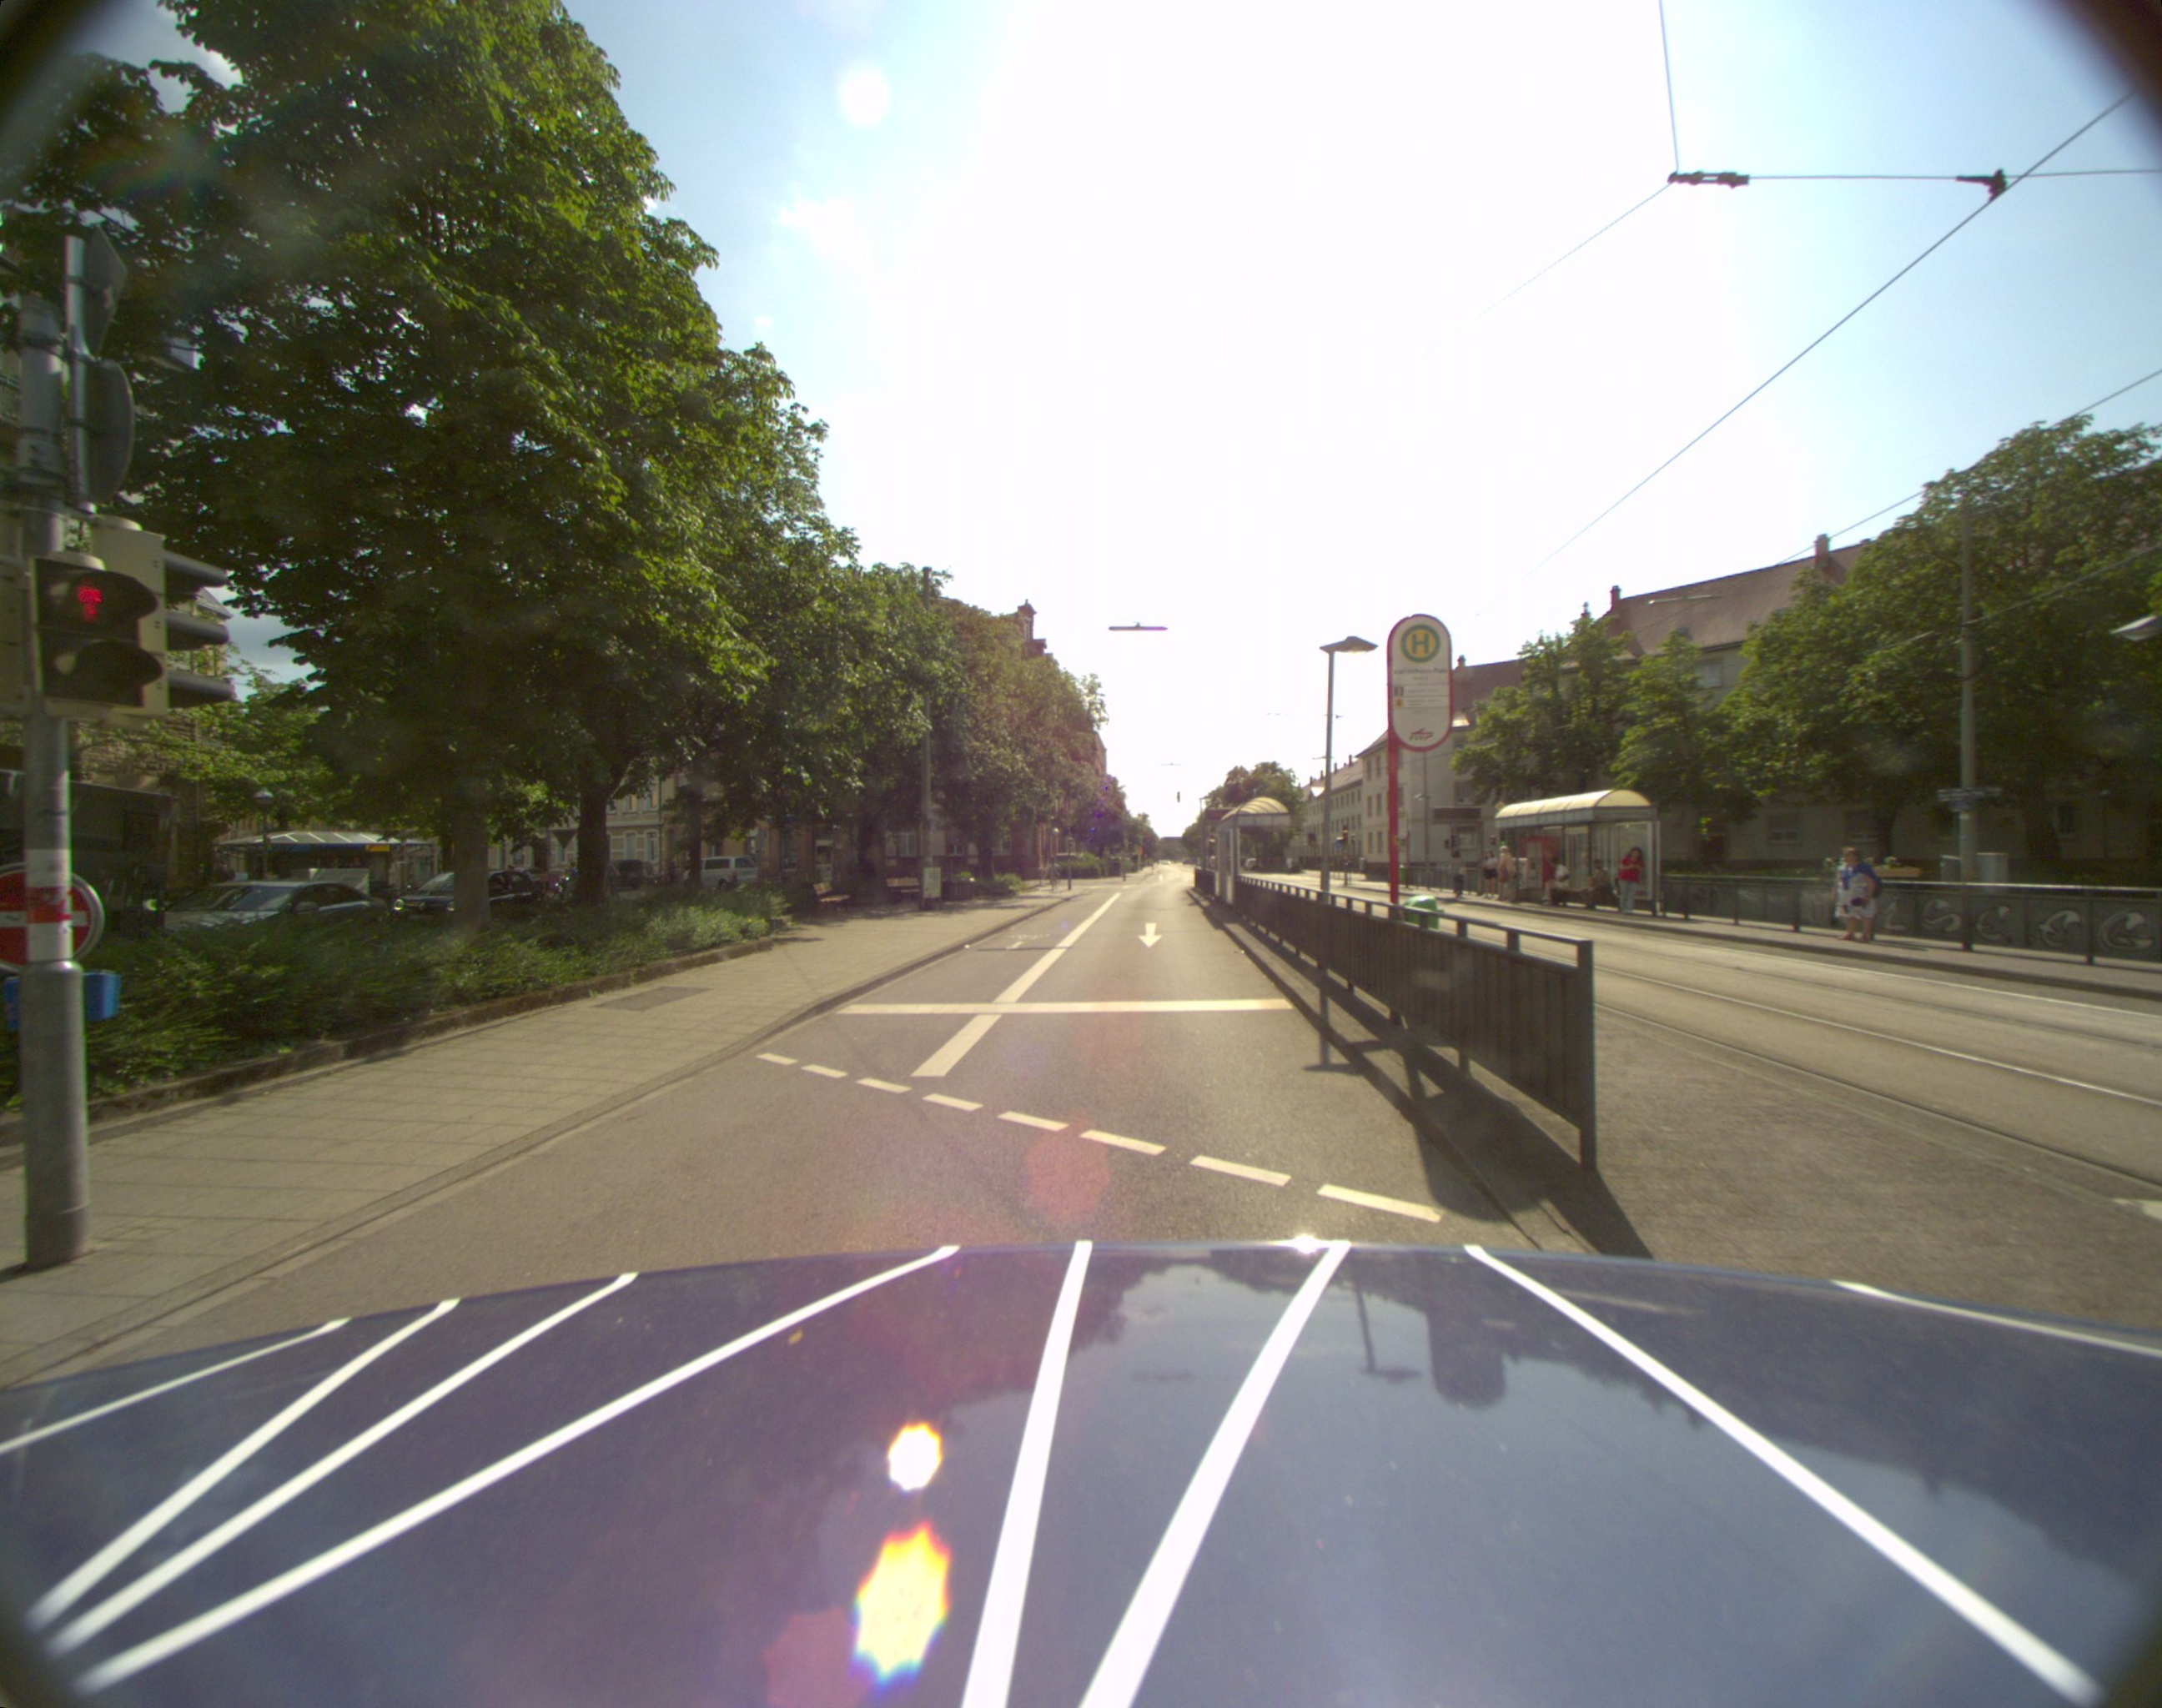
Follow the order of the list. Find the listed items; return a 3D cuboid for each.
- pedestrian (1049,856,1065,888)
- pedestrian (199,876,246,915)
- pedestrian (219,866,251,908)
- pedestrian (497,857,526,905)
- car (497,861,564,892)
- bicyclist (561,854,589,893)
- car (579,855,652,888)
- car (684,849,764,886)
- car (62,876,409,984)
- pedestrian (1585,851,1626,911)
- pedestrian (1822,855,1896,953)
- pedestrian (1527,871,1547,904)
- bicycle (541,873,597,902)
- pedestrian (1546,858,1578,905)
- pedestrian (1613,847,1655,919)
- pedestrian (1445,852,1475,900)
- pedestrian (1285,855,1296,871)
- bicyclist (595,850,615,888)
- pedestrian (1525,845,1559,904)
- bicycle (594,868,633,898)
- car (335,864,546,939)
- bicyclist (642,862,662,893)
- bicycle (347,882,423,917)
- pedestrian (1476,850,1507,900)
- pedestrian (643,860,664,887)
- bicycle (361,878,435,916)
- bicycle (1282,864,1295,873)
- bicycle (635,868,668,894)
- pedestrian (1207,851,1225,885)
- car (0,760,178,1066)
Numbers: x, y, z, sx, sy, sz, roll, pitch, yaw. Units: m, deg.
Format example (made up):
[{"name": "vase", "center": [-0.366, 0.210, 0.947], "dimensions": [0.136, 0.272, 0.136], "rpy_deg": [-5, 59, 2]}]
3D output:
[{"name": "pedestrian", "center": [-1.273, 0.967, 40.214], "dimensions": [0.706, 1.644, 0.534], "rpy_deg": [-3, 1, 5]}, {"name": "pedestrian", "center": [-27.864, 1.340, 24.668], "dimensions": [0.681, 1.192, 0.848], "rpy_deg": [0, 0, 27]}, {"name": "pedestrian", "center": [-35.525, 1.355, 31.893], "dimensions": [0.844, 1.729, 0.684], "rpy_deg": [0, 0, 27]}, {"name": "pedestrian", "center": [-20.750, 0.975, 27.680], "dimensions": [0.560, 1.690, 0.534], "rpy_deg": [-3, 1, 4]}, {"name": "car", "center": [-37.672, 1.518, 52.013], "dimensions": [4.305, 2.002, 2.004], "rpy_deg": [-1, 0, 28]}, {"name": "bicyclist", "center": [-18.560, 0.710, 27.876], "dimensions": [0.633, 1.396, 0.482], "rpy_deg": [-3, 1, 4]}, {"name": "car", "center": [-29.263, 1.069, 47.770], "dimensions": [4.305, 2.002, 2.004], "rpy_deg": [-1, 0, 28]}, {"name": "car", "center": [-20.191, 0.756, 42.987], "dimensions": [4.305, 1.975, 1.841], "rpy_deg": [-1, 1, 28]}, {"name": "car", "center": [-13.861, 1.123, 12.954], "dimensions": [1.838, 1.361, 4.479], "rpy_deg": [-1, 0, -16]}, {"name": "pedestrian", "center": [13.195, 0.666, 19.124], "dimensions": [0.530, 1.448, 0.692], "rpy_deg": [1, 1, 4]}, {"name": "pedestrian", "center": [12.307, 0.774, 12.041], "dimensions": [0.428, 1.495, 0.704], "rpy_deg": [1, 1, 5]}, {"name": "pedestrian", "center": [13.266, 0.962, 22.091], "dimensions": [0.340, 0.925, 0.346], "rpy_deg": [2, 1, -1]}, {"name": "bicycle", "center": [-18.795, 1.227, 27.908], "dimensions": [1.684, 1.000, 0.524], "rpy_deg": [-3, 1, 4]}, {"name": "pedestrian", "center": [13.801, 0.785, 21.798], "dimensions": [0.604, 1.329, 0.406], "rpy_deg": [2, 1, 0]}, {"name": "pedestrian", "center": [12.994, 0.666, 17.867], "dimensions": [0.473, 1.647, 0.746], "rpy_deg": [0, 1, 5]}, {"name": "pedestrian", "center": [12.942, 0.734, 25.969], "dimensions": [0.657, 1.598, 0.638], "rpy_deg": [2, 1, 0]}, {"name": "pedestrian", "center": [19.244, 0.852, 69.799], "dimensions": [0.805, 1.465, 0.807], "rpy_deg": [-1, 0, 1]}, {"name": "bicyclist", "center": [-20.228, 0.634, 32.290], "dimensions": [0.698, 1.589, 0.507], "rpy_deg": [-2, -2, 35]}, {"name": "pedestrian", "center": [13.302, 0.576, 21.916], "dimensions": [0.498, 1.660, 0.678], "rpy_deg": [2, 1, 0]}, {"name": "bicycle", "center": [-19.681, 1.215, 31.972], "dimensions": [1.848, 1.187, 0.524], "rpy_deg": [-2, 1, 30]}, {"name": "car", "center": [-14.764, 1.008, 17.882], "dimensions": [1.848, 1.492, 4.182], "rpy_deg": [-1, 0, -9]}, {"name": "bicyclist", "center": [-18.936, 1.033, 33.538], "dimensions": [0.741, 1.364, 0.470], "rpy_deg": [-2, 1, 36]}, {"name": "bicycle", "center": [-20.915, 1.366, 22.843], "dimensions": [1.974, 1.025, 0.599], "rpy_deg": [-1, 0, 10]}, {"name": "pedestrian", "center": [13.682, 0.682, 25.335], "dimensions": [0.657, 1.632, 0.639], "rpy_deg": [2, 1, 5]}, {"name": "pedestrian", "center": [-27.855, 1.276, 49.473], "dimensions": [0.760, 1.697, 0.930], "rpy_deg": [0, 0, 33]}, {"name": "bicycle", "center": [-21.122, 1.331, 23.510], "dimensions": [1.974, 1.136, 0.599], "rpy_deg": [-1, 0, 10]}, {"name": "bicycle", "center": [19.132, 1.354, 70.098], "dimensions": [0.755, 0.844, 1.619], "rpy_deg": [-1, 0, 1]}, {"name": "bicycle", "center": [-19.000, 1.211, 33.591], "dimensions": [1.661, 1.109, 0.524], "rpy_deg": [-2, 1, 34]}, {"name": "pedestrian", "center": [6.233, 0.645, 35.117], "dimensions": [0.702, 1.524, 0.557], "rpy_deg": [-3, 1, 5]}, {"name": "car", "center": [-10.967, 0.518, 6.478], "dimensions": [2.397, 2.777, 6.658], "rpy_deg": [1, -2, -34]}]
